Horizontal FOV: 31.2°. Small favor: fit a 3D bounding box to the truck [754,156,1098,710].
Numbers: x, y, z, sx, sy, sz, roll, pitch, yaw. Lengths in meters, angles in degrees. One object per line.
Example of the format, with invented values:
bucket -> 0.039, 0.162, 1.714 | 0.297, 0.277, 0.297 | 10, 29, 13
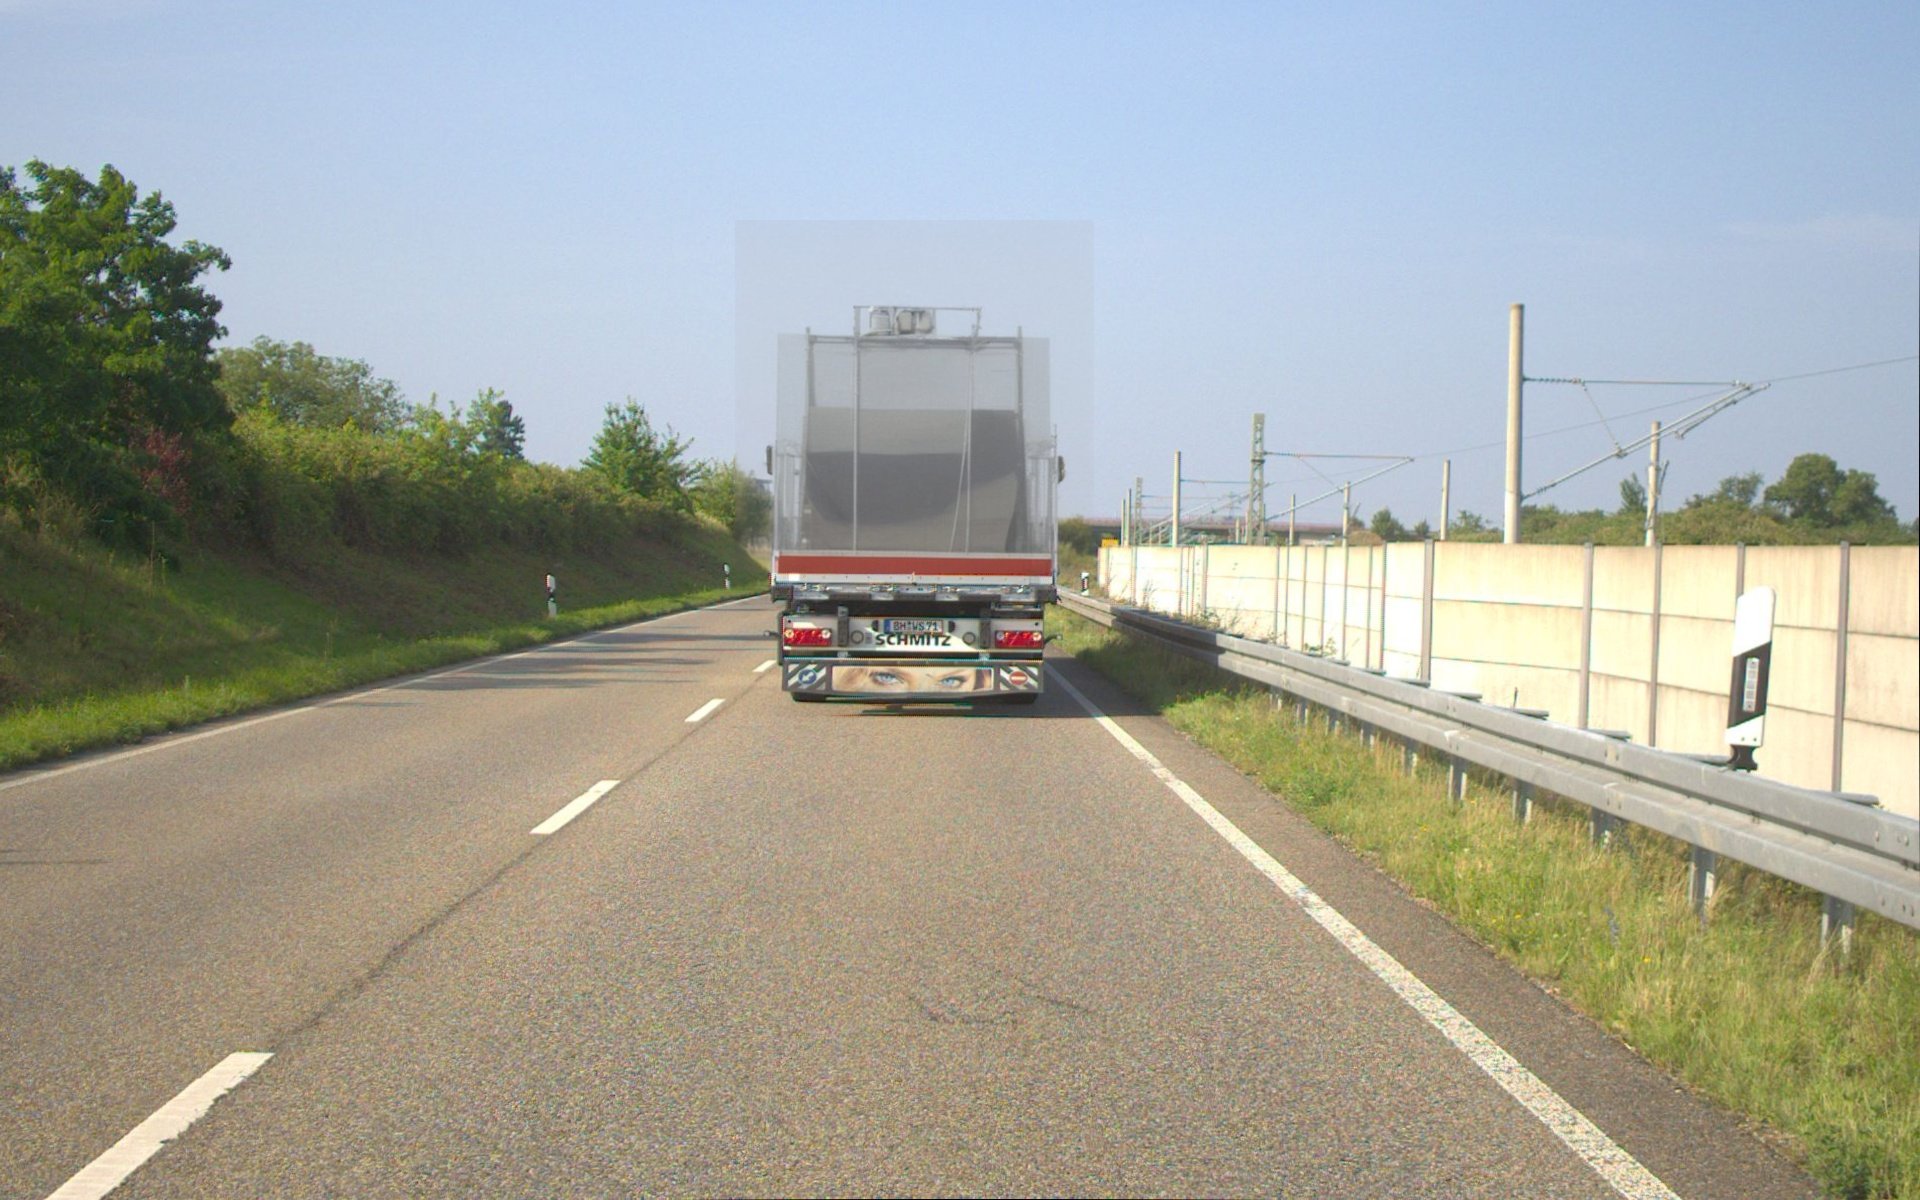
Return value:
truck -> -0.420, -1.619, 36.353 | 3.033, 4.903, 11.685 | 0, 1, -1
